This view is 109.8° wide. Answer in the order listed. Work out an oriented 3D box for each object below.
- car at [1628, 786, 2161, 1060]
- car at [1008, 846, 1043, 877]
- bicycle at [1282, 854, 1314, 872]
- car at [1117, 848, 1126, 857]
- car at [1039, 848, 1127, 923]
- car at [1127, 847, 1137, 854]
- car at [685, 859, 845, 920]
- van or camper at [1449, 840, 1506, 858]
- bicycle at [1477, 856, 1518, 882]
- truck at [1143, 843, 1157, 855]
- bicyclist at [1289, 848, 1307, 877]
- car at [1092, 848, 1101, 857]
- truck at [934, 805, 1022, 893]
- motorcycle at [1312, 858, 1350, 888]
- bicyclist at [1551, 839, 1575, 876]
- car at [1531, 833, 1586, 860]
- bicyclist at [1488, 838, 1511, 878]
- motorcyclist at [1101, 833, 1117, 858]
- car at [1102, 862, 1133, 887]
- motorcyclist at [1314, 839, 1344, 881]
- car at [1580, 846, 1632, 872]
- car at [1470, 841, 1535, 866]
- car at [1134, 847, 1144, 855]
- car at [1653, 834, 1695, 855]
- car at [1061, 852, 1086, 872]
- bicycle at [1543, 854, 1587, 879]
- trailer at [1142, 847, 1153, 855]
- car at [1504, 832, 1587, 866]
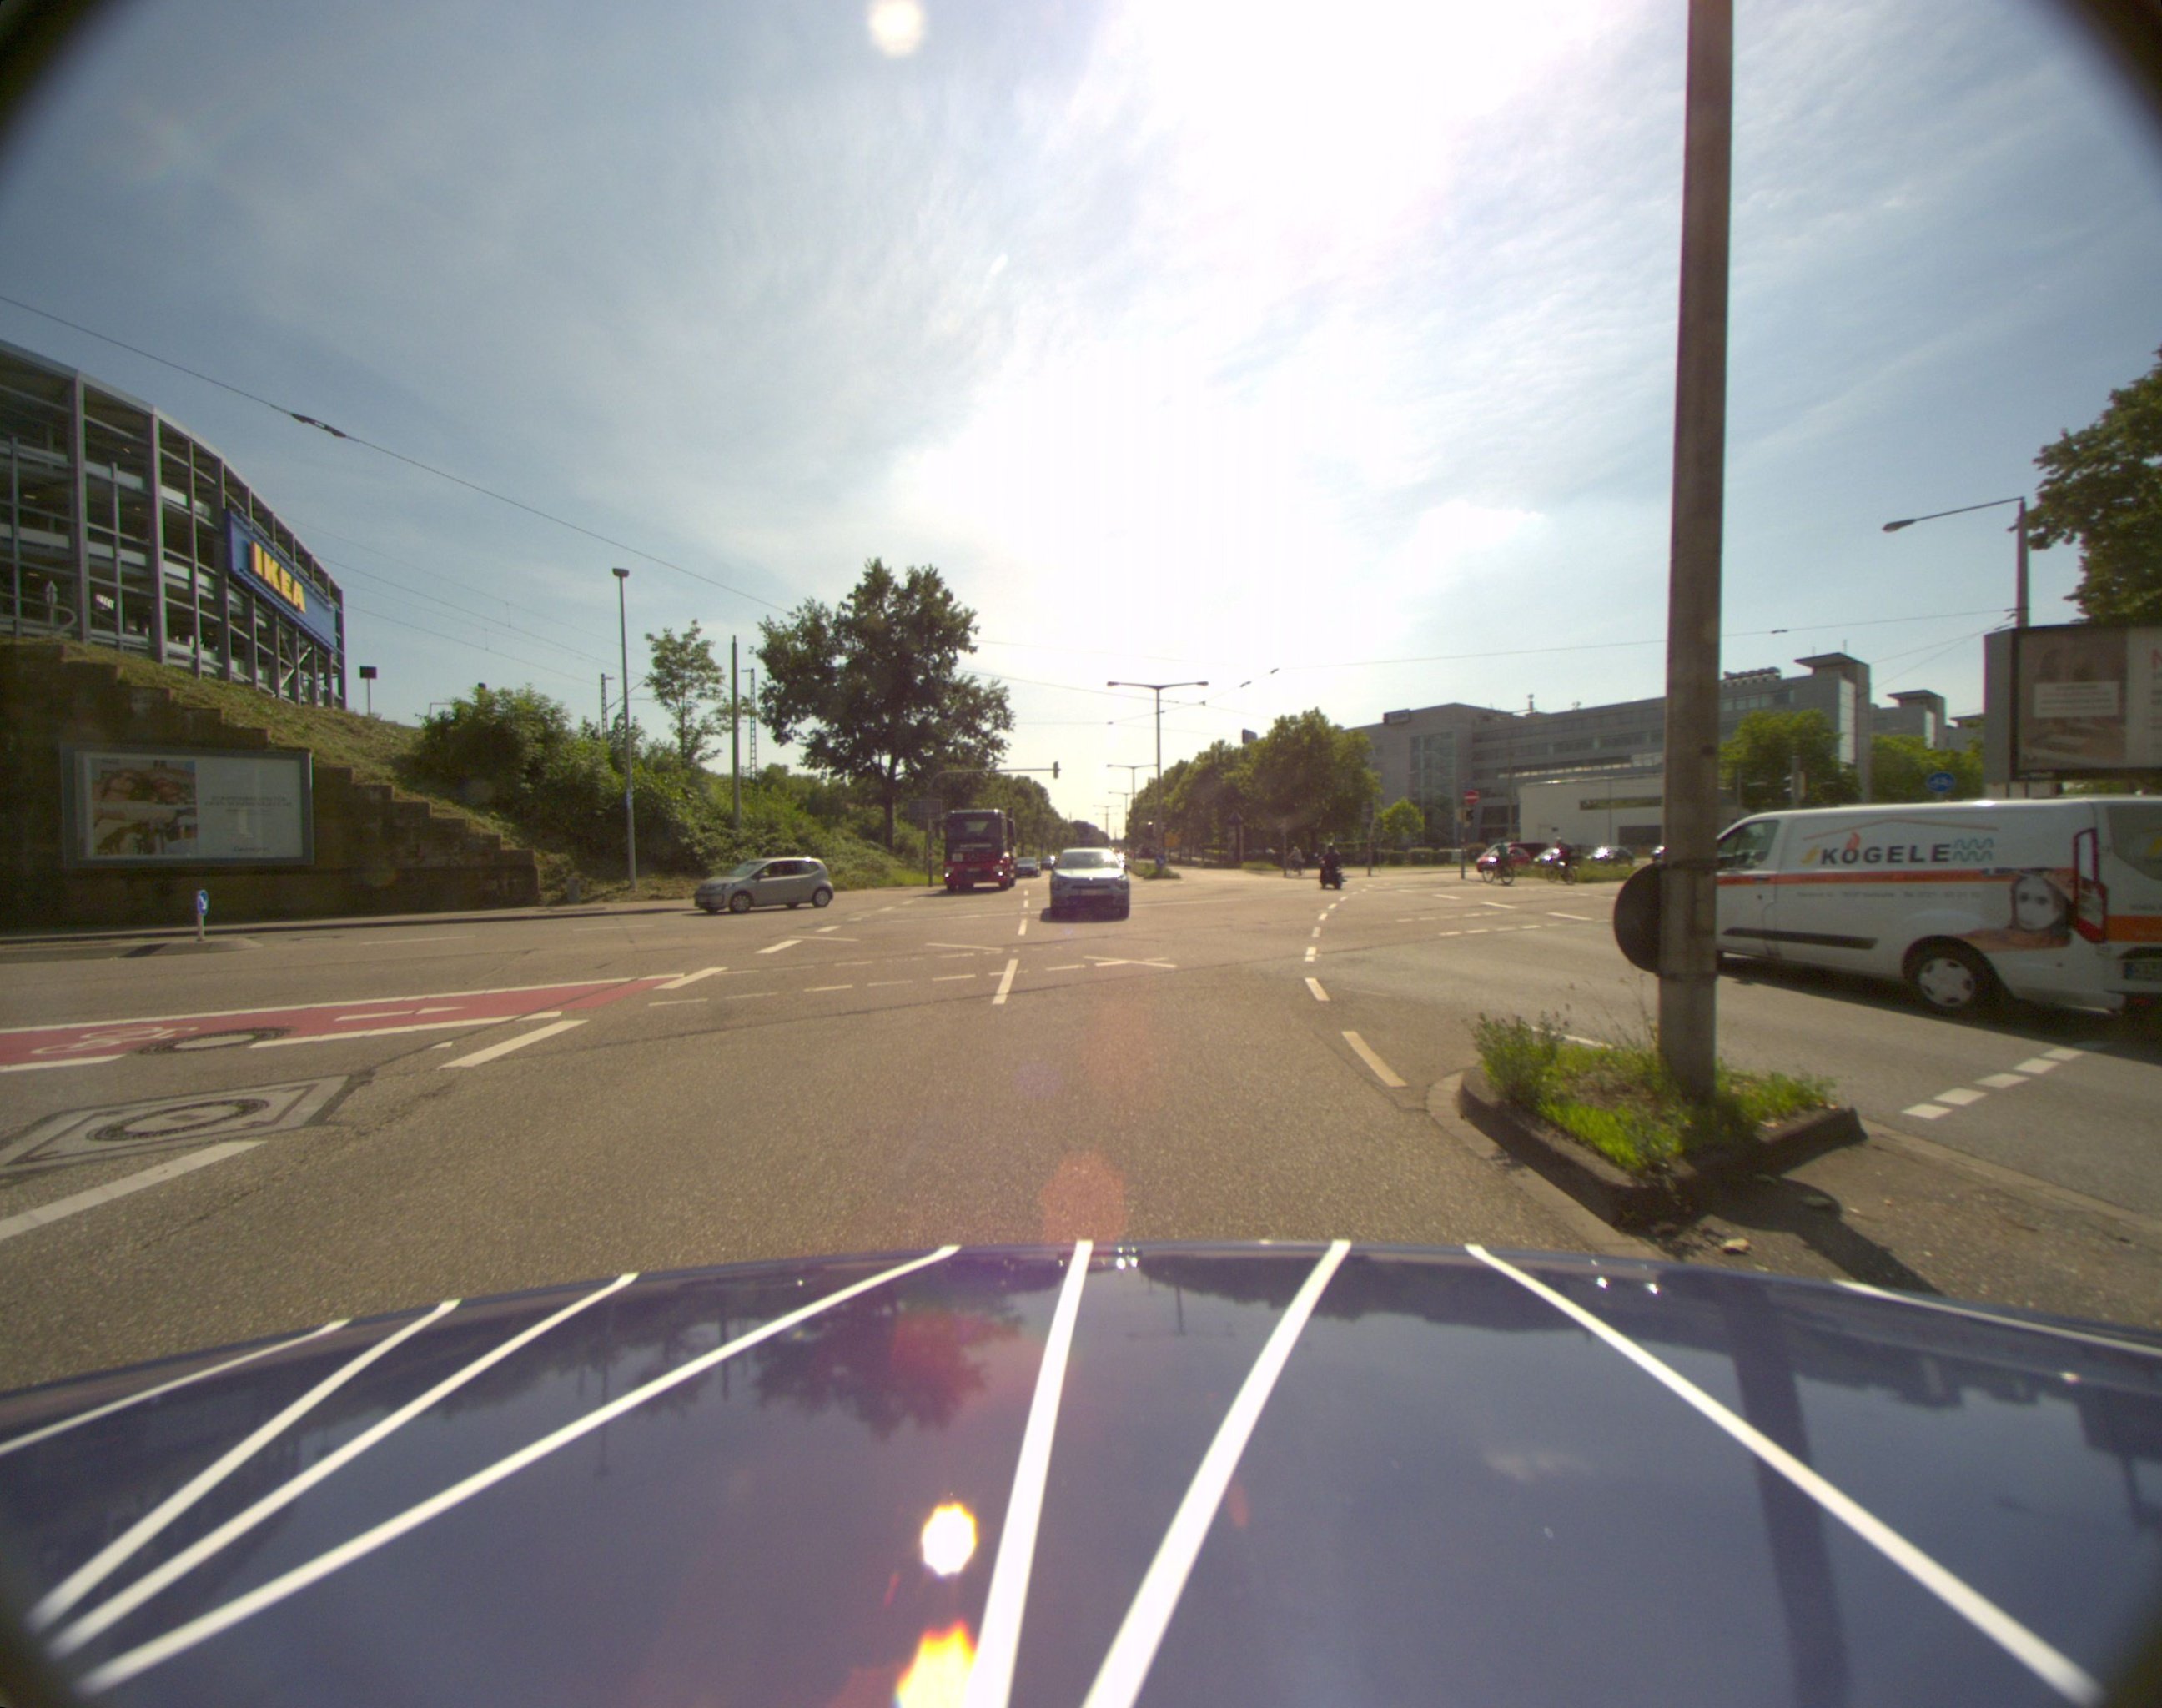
[{"bbox_3d":[8.576,0.497,8.029,1.981,1.988,5.031,1,1,1],"label":"car"},{"bbox_3d":[-3.741,0.456,52.145,1.998,2.002,4.000,-1,1,1],"label":"car"},{"bbox_3d":[13.575,0.552,47.590,2.169,1.058,0.524,-2,1,-28],"label":"bicycle"},{"bbox_3d":[9.721,-0.369,184.082,1.998,2.002,4.000,-1,1,1],"label":"car"},{"bbox_3d":[0.143,0.651,18.422,1.825,1.521,4.752,-1,1,3],"label":"car"},{"bbox_3d":[11.021,-0.689,165.215,1.852,1.426,3.766,-1,1,0],"label":"car"},{"bbox_3d":[-8.611,0.907,20.945,1.701,1.429,3.685,0,1,38],"label":"car"},{"bbox_3d":[38.718,-0.513,74.321,2.004,1.682,4.500,-2,1,-36],"label":"van or camper"},{"bbox_3d":[15.891,0.555,29.065,0.417,0.932,1.996,-1,1,-2],"label":"bicycle"},{"bbox_3d":[15.199,-1.102,166.862,2.143,2.461,7.134,-1,1,11],"label":"truck"},{"bbox_3d":[13.600,0.554,47.577,0.769,1.778,0.704,-2,1,-28],"label":"bicyclist"},{"bbox_3d":[3.927,-0.374,192.526,1.998,2.002,4.000,-1,1,1],"label":"car"},{"bbox_3d":[-4.120,-0.216,32.105,2.776,3.248,7.481,-1,1,-1],"label":"truck"},{"bbox_3d":[8.869,0.655,27.038,0.689,0.985,2.217,-1,1,1],"label":"motorcycle"},{"bbox_3d":[18.592,0.128,29.318,0.529,1.406,0.609,-1,1,-7],"label":"bicyclist"},{"bbox_3d":[31.025,-0.505,49.350,4.008,1.689,1.994,-2,1,-41],"label":"car"},{"bbox_3d":[15.869,0.132,28.811,0.529,1.483,0.609,-1,1,-1],"label":"bicyclist"},{"bbox_3d":[1.928,-0.607,52.292,1.066,1.689,1.042,-1,1,1],"label":"motorcyclist"},{"bbox_3d":[2.274,1.265,48.595,1.730,1.354,4.067,-3,1,0],"label":"car"},{"bbox_3d":[8.838,0.206,27.060,0.745,1.462,0.987,-1,1,1],"label":"motorcyclist"},{"bbox_3d":[36.687,0.319,53.110,4.008,1.689,1.994,-2,1,-40],"label":"car"},{"bbox_3d":[25.345,-0.043,45.677,4.007,1.441,1.842,-1,1,-35],"label":"car"},{"bbox_3d":[11.333,-0.574,147.787,1.653,1.505,3.736,-1,1,1],"label":"car"},{"bbox_3d":[49.528,-0.790,63.452,4.008,1.689,1.994,-2,1,-40],"label":"car"},{"bbox_3d":[-0.564,0.632,62.885,1.825,1.521,4.548,-1,1,3],"label":"car"},{"bbox_3d":[18.661,0.472,29.327,0.435,0.932,1.750,-1,1,-6],"label":"bicycle"},{"bbox_3d":[14.207,-0.670,161.373,2.065,1.706,3.992,-1,1,8],"label":"trailer"},{"bbox_3d":[33.098,-0.367,54.170,5.044,2.265,2.149,-1,1,-16],"label":"car"}]
